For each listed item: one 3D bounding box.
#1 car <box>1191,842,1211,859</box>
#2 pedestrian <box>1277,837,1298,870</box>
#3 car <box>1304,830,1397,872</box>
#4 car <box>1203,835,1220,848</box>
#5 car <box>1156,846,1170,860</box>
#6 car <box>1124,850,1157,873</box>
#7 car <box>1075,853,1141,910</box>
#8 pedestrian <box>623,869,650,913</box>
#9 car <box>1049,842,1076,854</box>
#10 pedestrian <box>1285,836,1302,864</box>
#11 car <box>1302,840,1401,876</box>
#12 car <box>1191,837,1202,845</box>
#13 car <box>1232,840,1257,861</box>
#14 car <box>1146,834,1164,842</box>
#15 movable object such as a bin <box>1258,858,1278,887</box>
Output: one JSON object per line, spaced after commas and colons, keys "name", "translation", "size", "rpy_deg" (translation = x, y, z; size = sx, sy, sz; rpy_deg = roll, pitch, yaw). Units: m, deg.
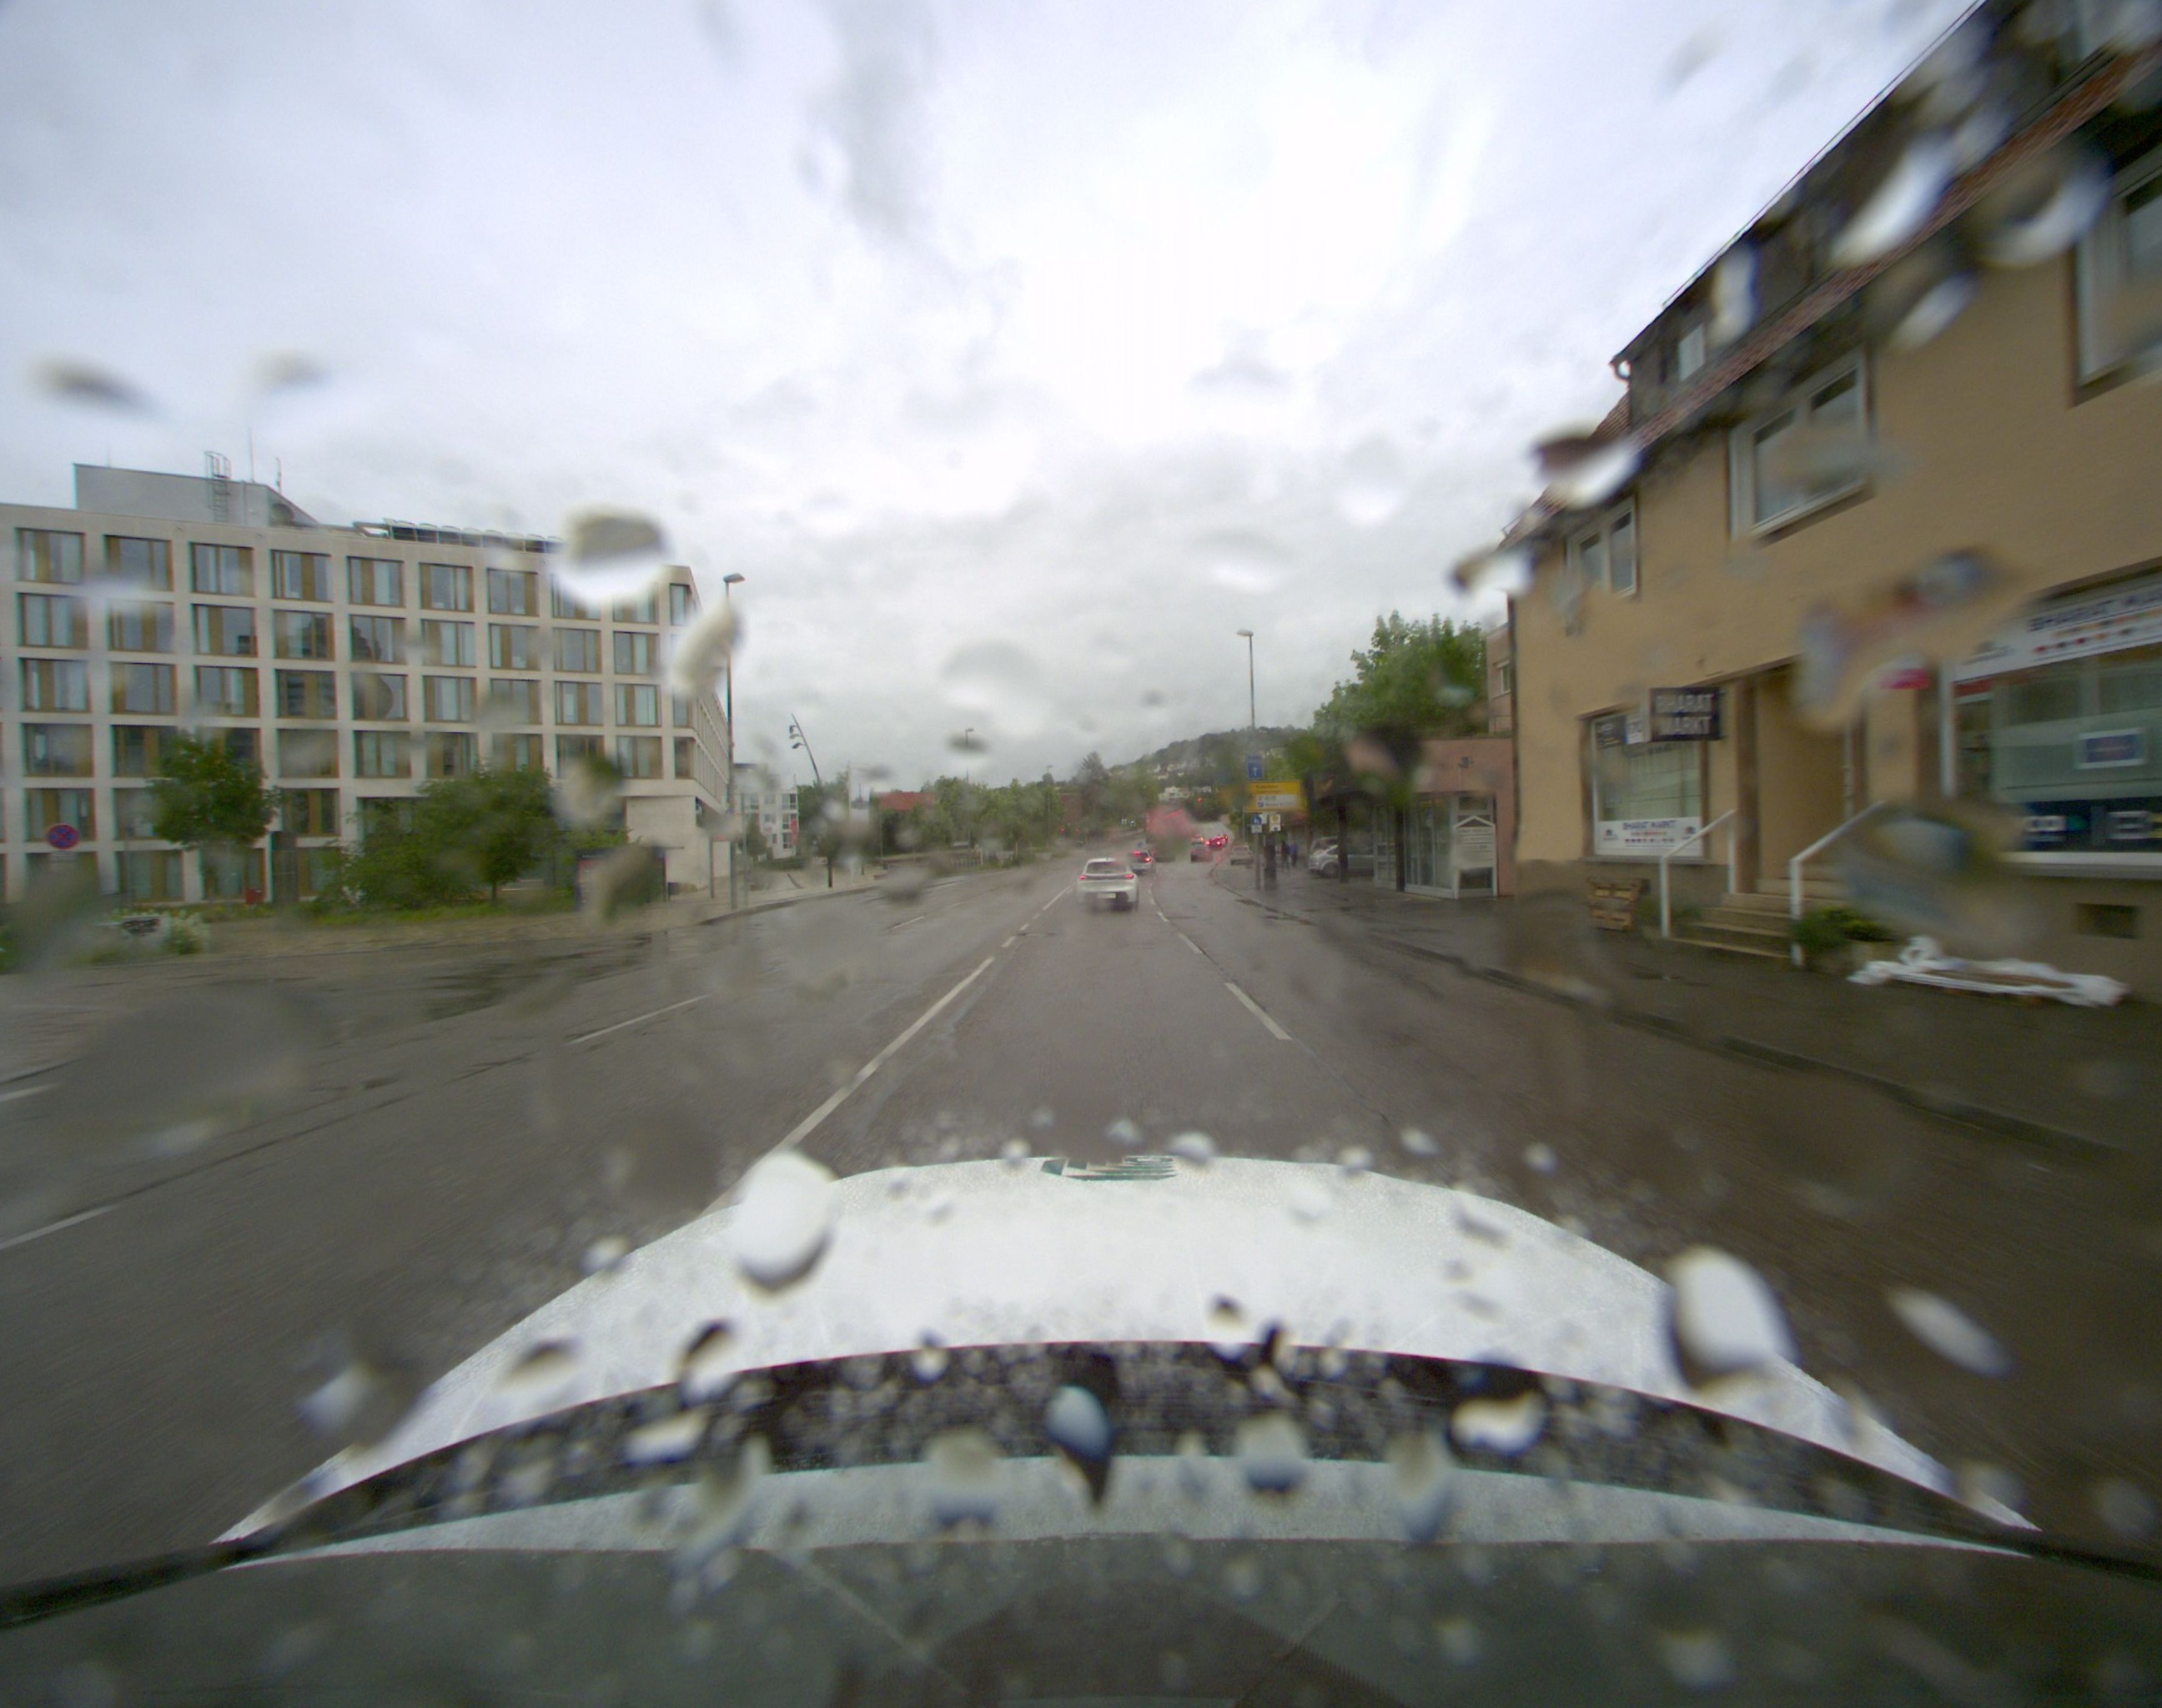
{"name": "car", "translation": [11.070, -0.304, 75.334], "size": [1.725, 1.387, 3.359], "rpy_deg": [-1, 3, 6]}
{"name": "pedestrian", "translation": [11.684, -0.030, 46.029], "size": [0.711, 1.821, 0.790], "rpy_deg": [-2, -2, -24]}
{"name": "car", "translation": [13.459, -0.152, 40.857], "size": [4.073, 1.871, 1.880], "rpy_deg": [-3, 0, 6]}
{"name": "car", "translation": [16.701, -1.583, 104.035], "size": [1.642, 1.485, 3.366], "rpy_deg": [-3, -1, 1]}
{"name": "car", "translation": [7.434, -0.073, 74.230], "size": [1.207, 1.156, 2.273], "rpy_deg": [-2, -2, 5]}
{"name": "car", "translation": [3.695, 0.431, 50.268], "size": [1.731, 1.295, 3.342], "rpy_deg": [-3, 0, 9]}
{"name": "car", "translation": [0.864, 0.744, 23.886], "size": [1.682, 1.519, 3.939], "rpy_deg": [0, 0, 6]}
{"name": "pedestrian", "translation": [-18.196, 1.500, 33.362], "size": [0.783, 1.745, 0.671], "rpy_deg": [-2, -2, -13]}
{"name": "car", "translation": [-2.827, -0.917, 124.133], "size": [3.530, 1.569, 1.786], "rpy_deg": [-2, -2, -23]}
{"name": "pedestrian", "translation": [13.584, -0.258, 52.023], "size": [0.871, 1.736, 0.761], "rpy_deg": [-3, 1, 4]}
{"name": "car", "translation": [12.355, 0.180, 37.380], "size": [3.966, 1.447, 1.750], "rpy_deg": [-3, 0, 6]}
{"name": "car", "translation": [16.842, -1.896, 118.667], "size": [1.376, 1.126, 2.617], "rpy_deg": [-3, -2, 10]}
{"name": "car", "translation": [13.114, -0.334, 65.173], "size": [1.718, 1.497, 4.497], "rpy_deg": [-3, 1, 13]}
{"name": "car", "translation": [11.767, -2.605, 130.057], "size": [2.432, 1.157, 1.358], "rpy_deg": [-2, -1, -28]}
{"name": "movable object such as a bin", "translation": [7.235, 0.717, 31.576], "size": [0.633, 1.074, 0.699], "rpy_deg": [-3, 2, 5]}
